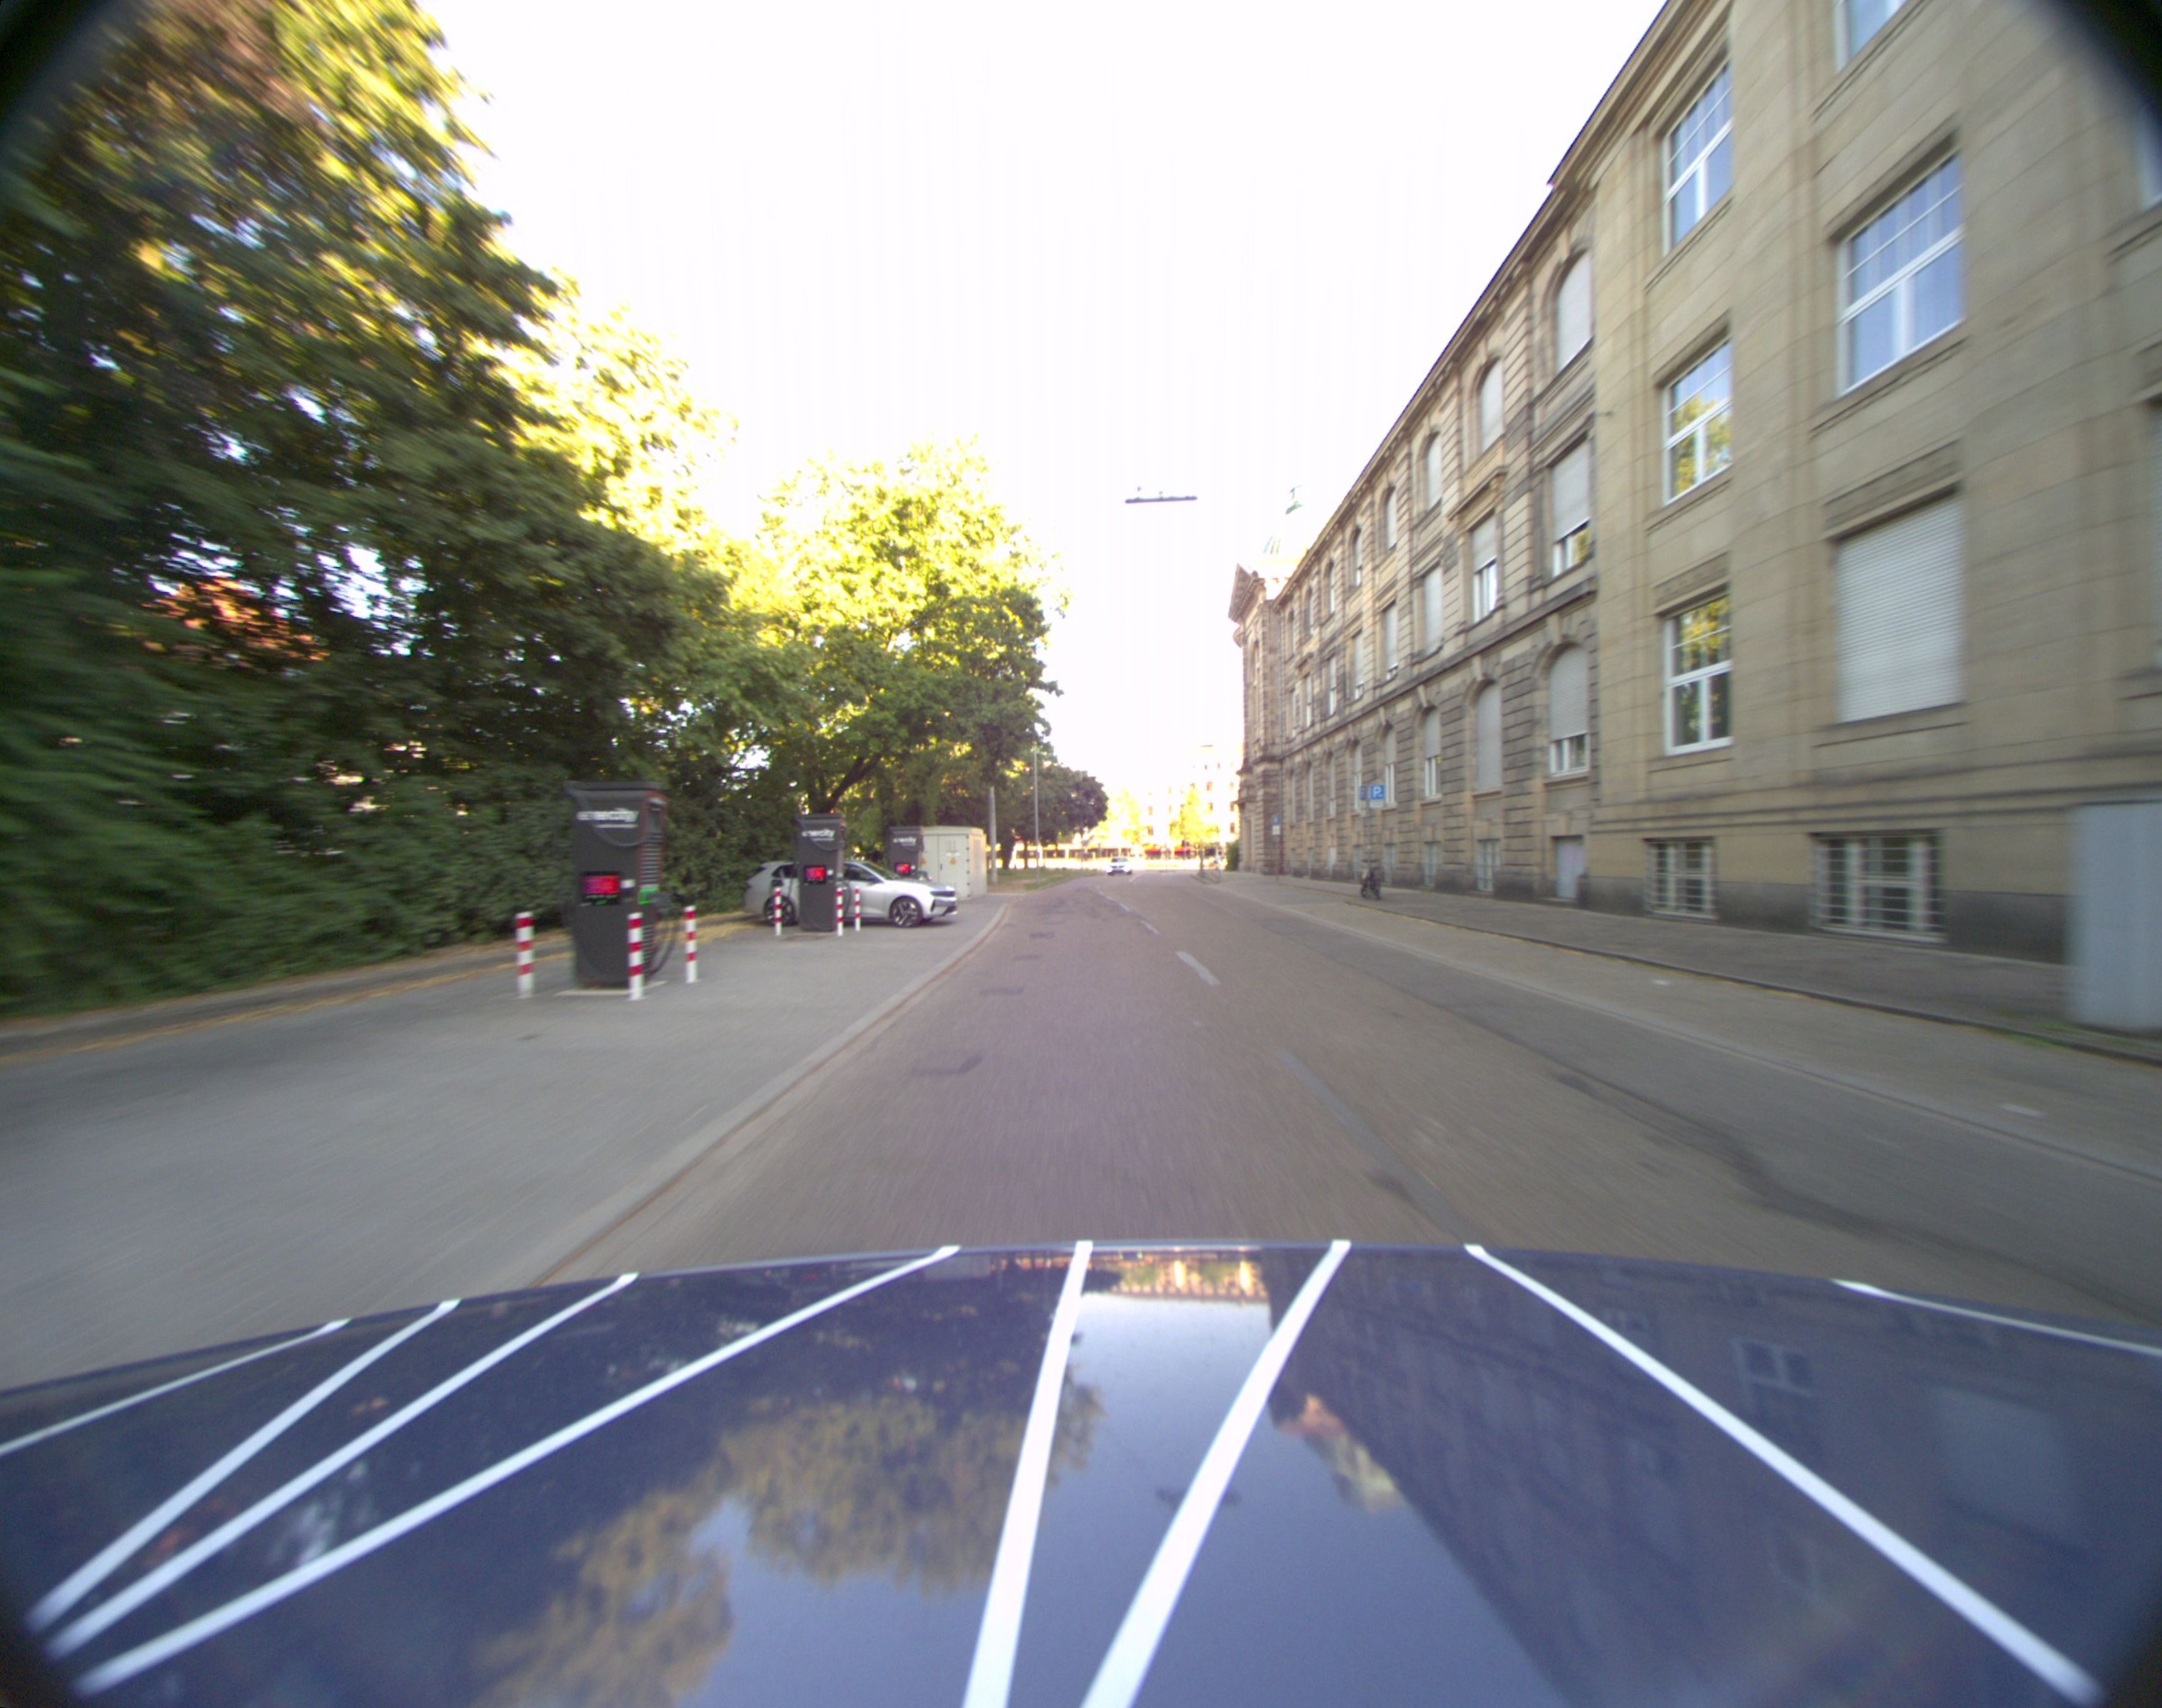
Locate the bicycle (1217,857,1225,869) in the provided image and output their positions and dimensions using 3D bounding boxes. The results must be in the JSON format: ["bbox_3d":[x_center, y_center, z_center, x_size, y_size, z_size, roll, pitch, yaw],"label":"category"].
[{"bbox_3d":[13.219,0.864,71.788,0.663,1.064,2.155,0,0,13],"label":"bicycle"}]

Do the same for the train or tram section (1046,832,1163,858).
[{"bbox_3d":[3.121,-1.202,115.422,19.875,3.538,3.129,-1,0,39],"label":"train or tram section"}]

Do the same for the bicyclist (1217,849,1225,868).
[{"bbox_3d":[13.254,0.382,71.949,0.646,1.796,0.781,0,1,13],"label":"bicyclist"}]

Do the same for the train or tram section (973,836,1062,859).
[{"bbox_3d":[-10.772,-1.046,126.631,17.427,3.538,3.129,-1,0,39],"label":"train or tram section"}]

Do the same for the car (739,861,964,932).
[{"bbox_3d":[-4.989,0.902,16.932,4.452,1.460,1.782,0,0,0],"label":"car"}]

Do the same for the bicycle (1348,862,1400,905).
[{"bbox_3d":[8.396,0.822,21.870,0.854,1.095,1.983,-3,0,5],"label":"bicycle"}]

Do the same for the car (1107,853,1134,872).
[{"bbox_3d":[3.331,0.723,63.051,1.832,1.528,4.282,0,-1,8],"label":"car"}]
